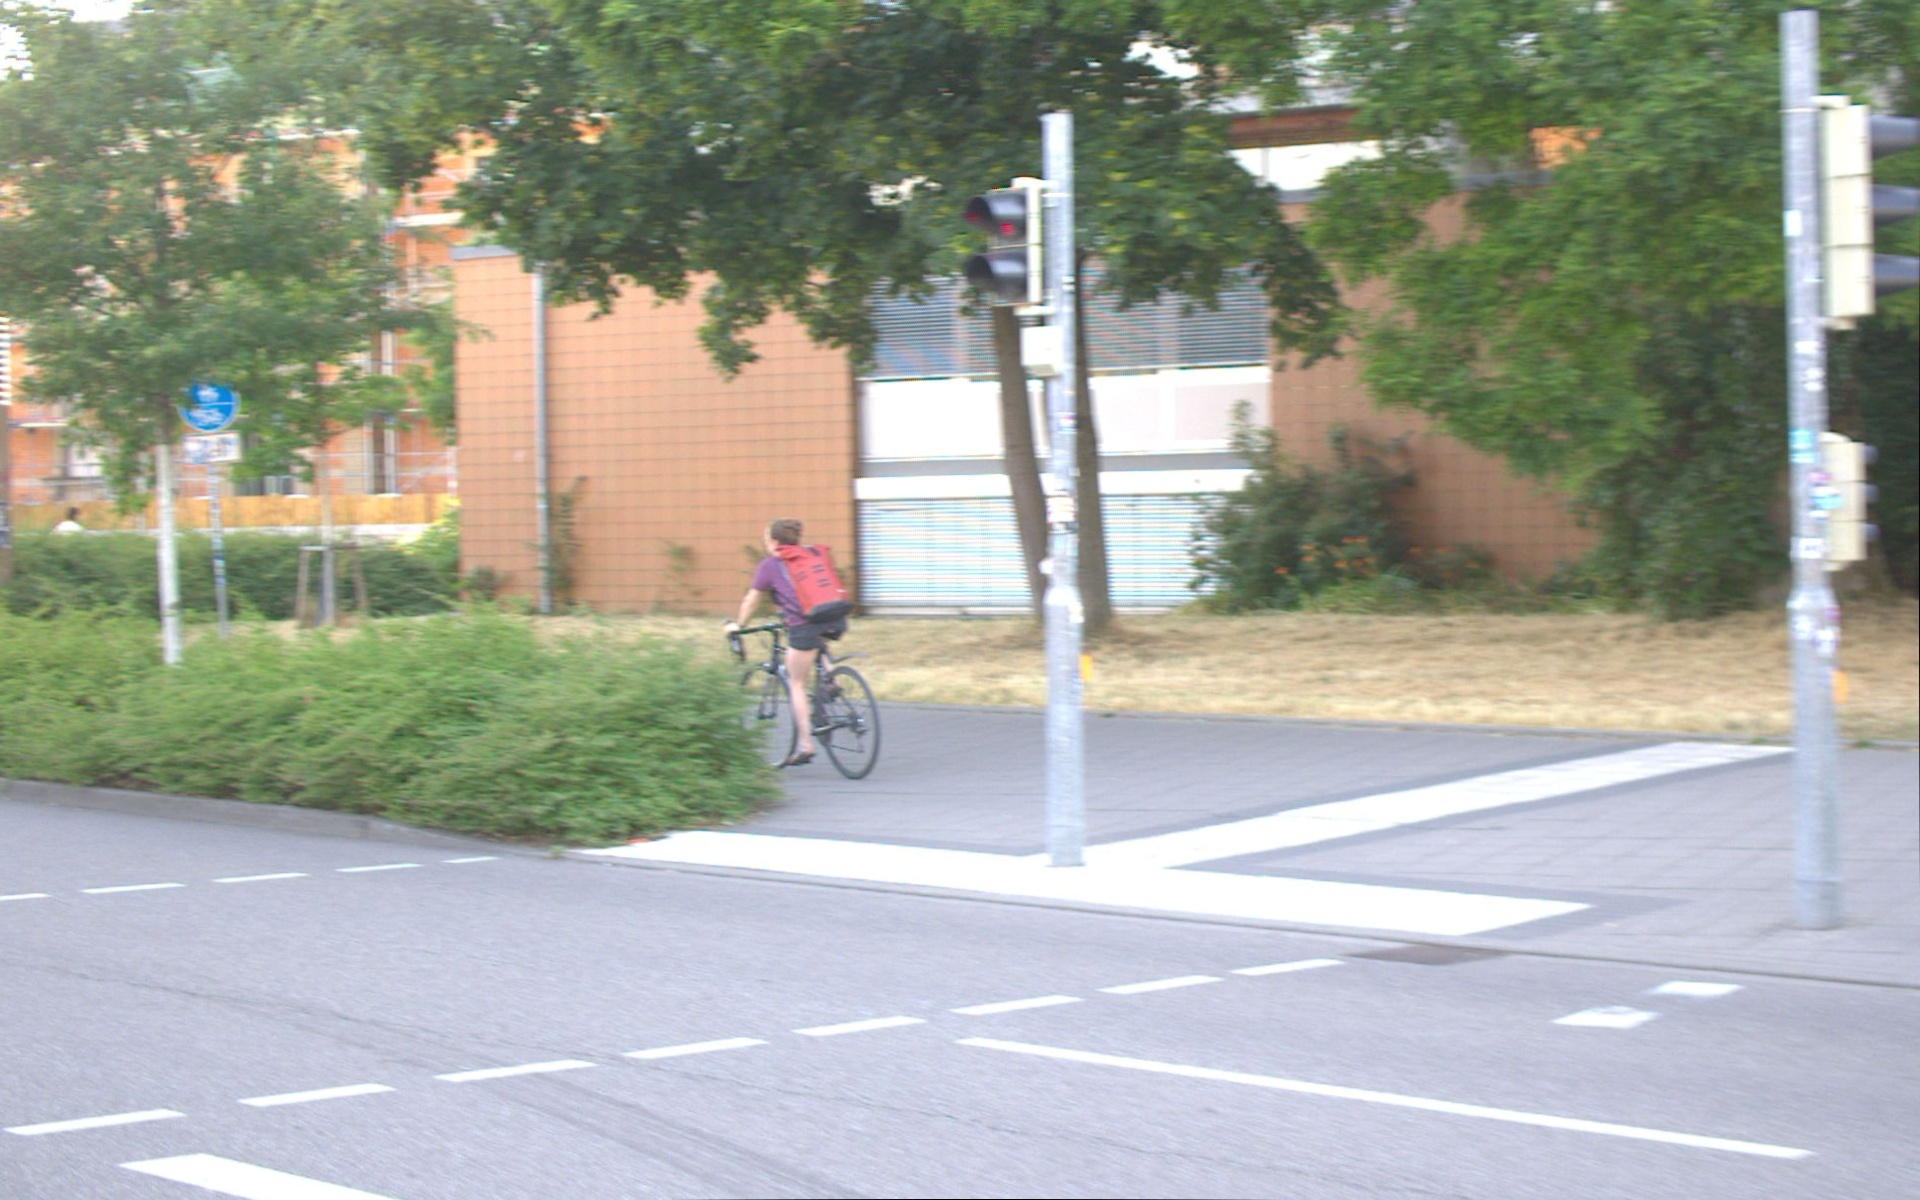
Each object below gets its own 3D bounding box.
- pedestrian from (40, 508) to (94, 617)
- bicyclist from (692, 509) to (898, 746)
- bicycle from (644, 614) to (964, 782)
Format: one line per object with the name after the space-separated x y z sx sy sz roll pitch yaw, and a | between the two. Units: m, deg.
-13.658 -0.571 52.588 0.723 1.653 0.718 1 0 -11 | pedestrian
-0.999 0.161 20.701 0.720 1.380 1.075 -1 0 -39 | bicyclist
-0.967 0.571 20.671 0.720 0.949 2.248 -1 0 -39 | bicycle
